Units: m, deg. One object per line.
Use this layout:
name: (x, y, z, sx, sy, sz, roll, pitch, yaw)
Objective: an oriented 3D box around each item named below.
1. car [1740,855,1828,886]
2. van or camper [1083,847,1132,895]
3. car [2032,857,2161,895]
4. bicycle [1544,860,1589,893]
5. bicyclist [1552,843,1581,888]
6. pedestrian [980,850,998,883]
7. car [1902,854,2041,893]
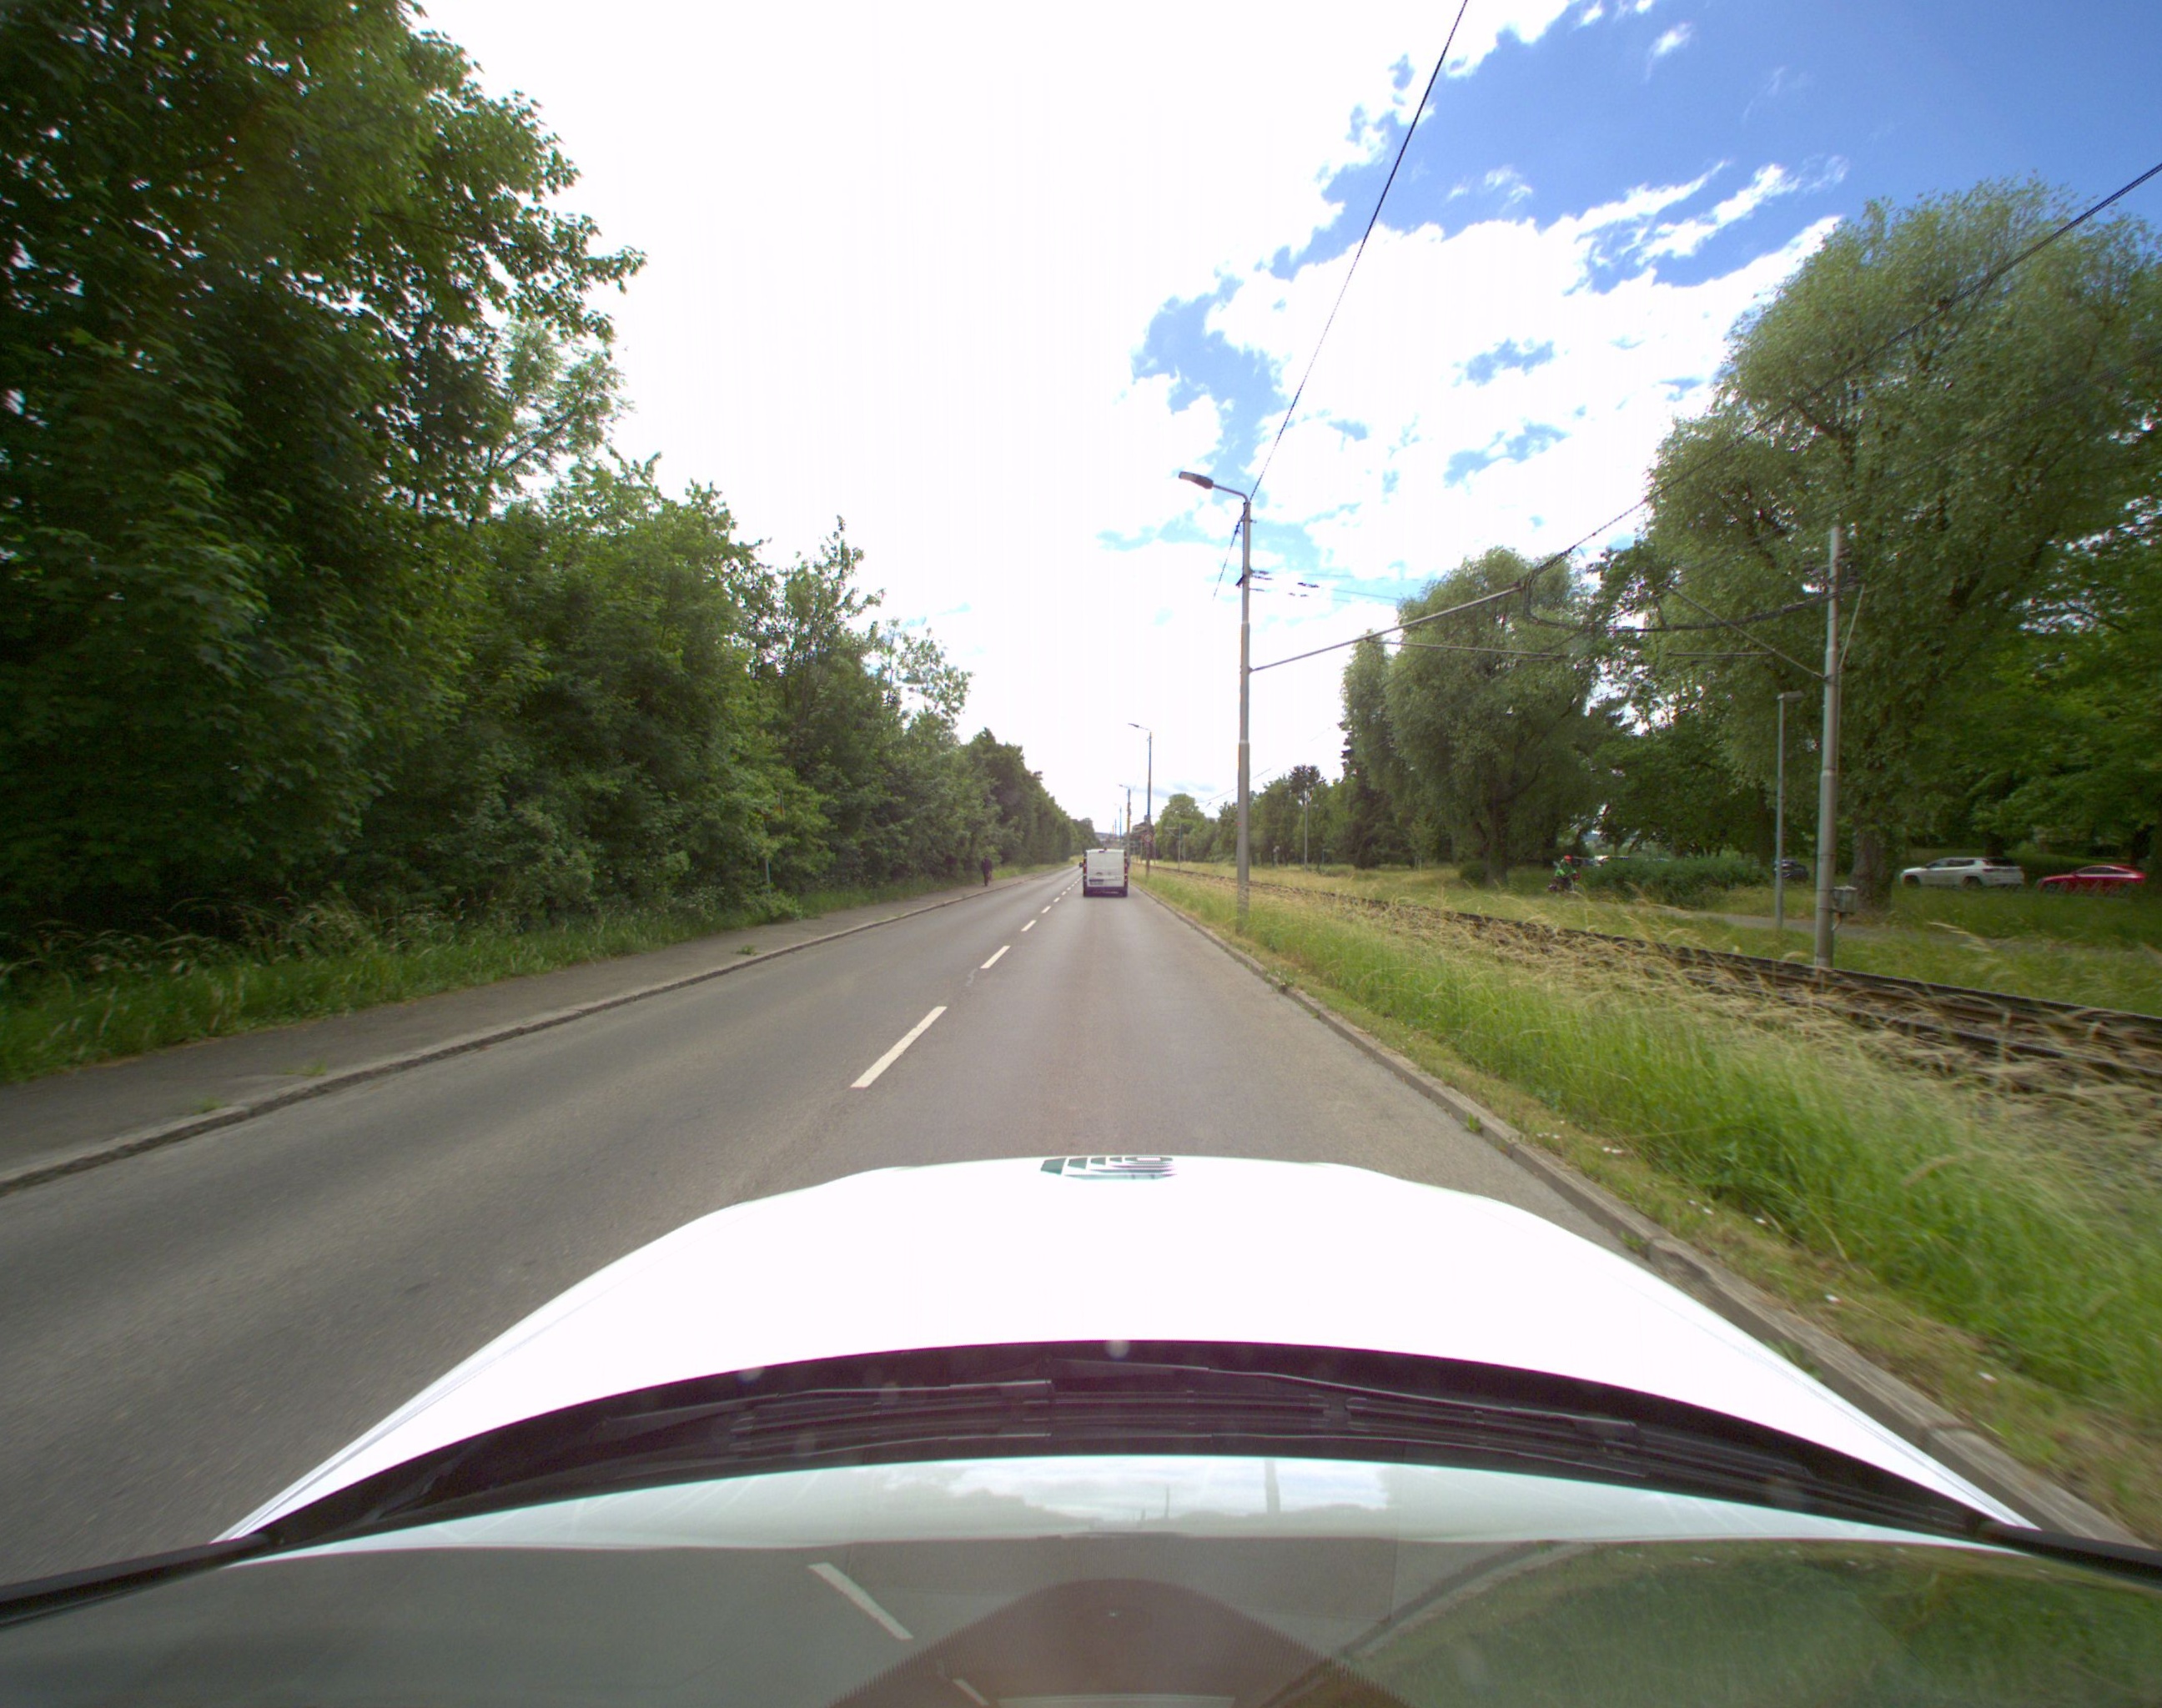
car: (42.063, 0.948, 48.886, 1.985, 1.700, 4.004, 2, 0, 3)
van or camper: (1.083, 0.690, 34.770, 1.935, 1.897, 4.284, -1, -1, 1)
car: (41.619, 0.868, 32.827, 1.986, 1.443, 4.001, 1, 0, 2)
bicycle: (19.000, 0.847, 31.910, 0.579, 1.246, 1.928, 1, 0, -2)
bicyclist: (19.014, 0.447, 31.900, 0.579, 1.696, 0.935, 1, -1, -2)
pedestrian: (-4.988, 0.667, 44.243, 0.866, 1.770, 0.789, -2, 0, -2)
car: (41.812, 0.875, 38.398, 1.986, 1.700, 4.230, 2, 0, 2)
